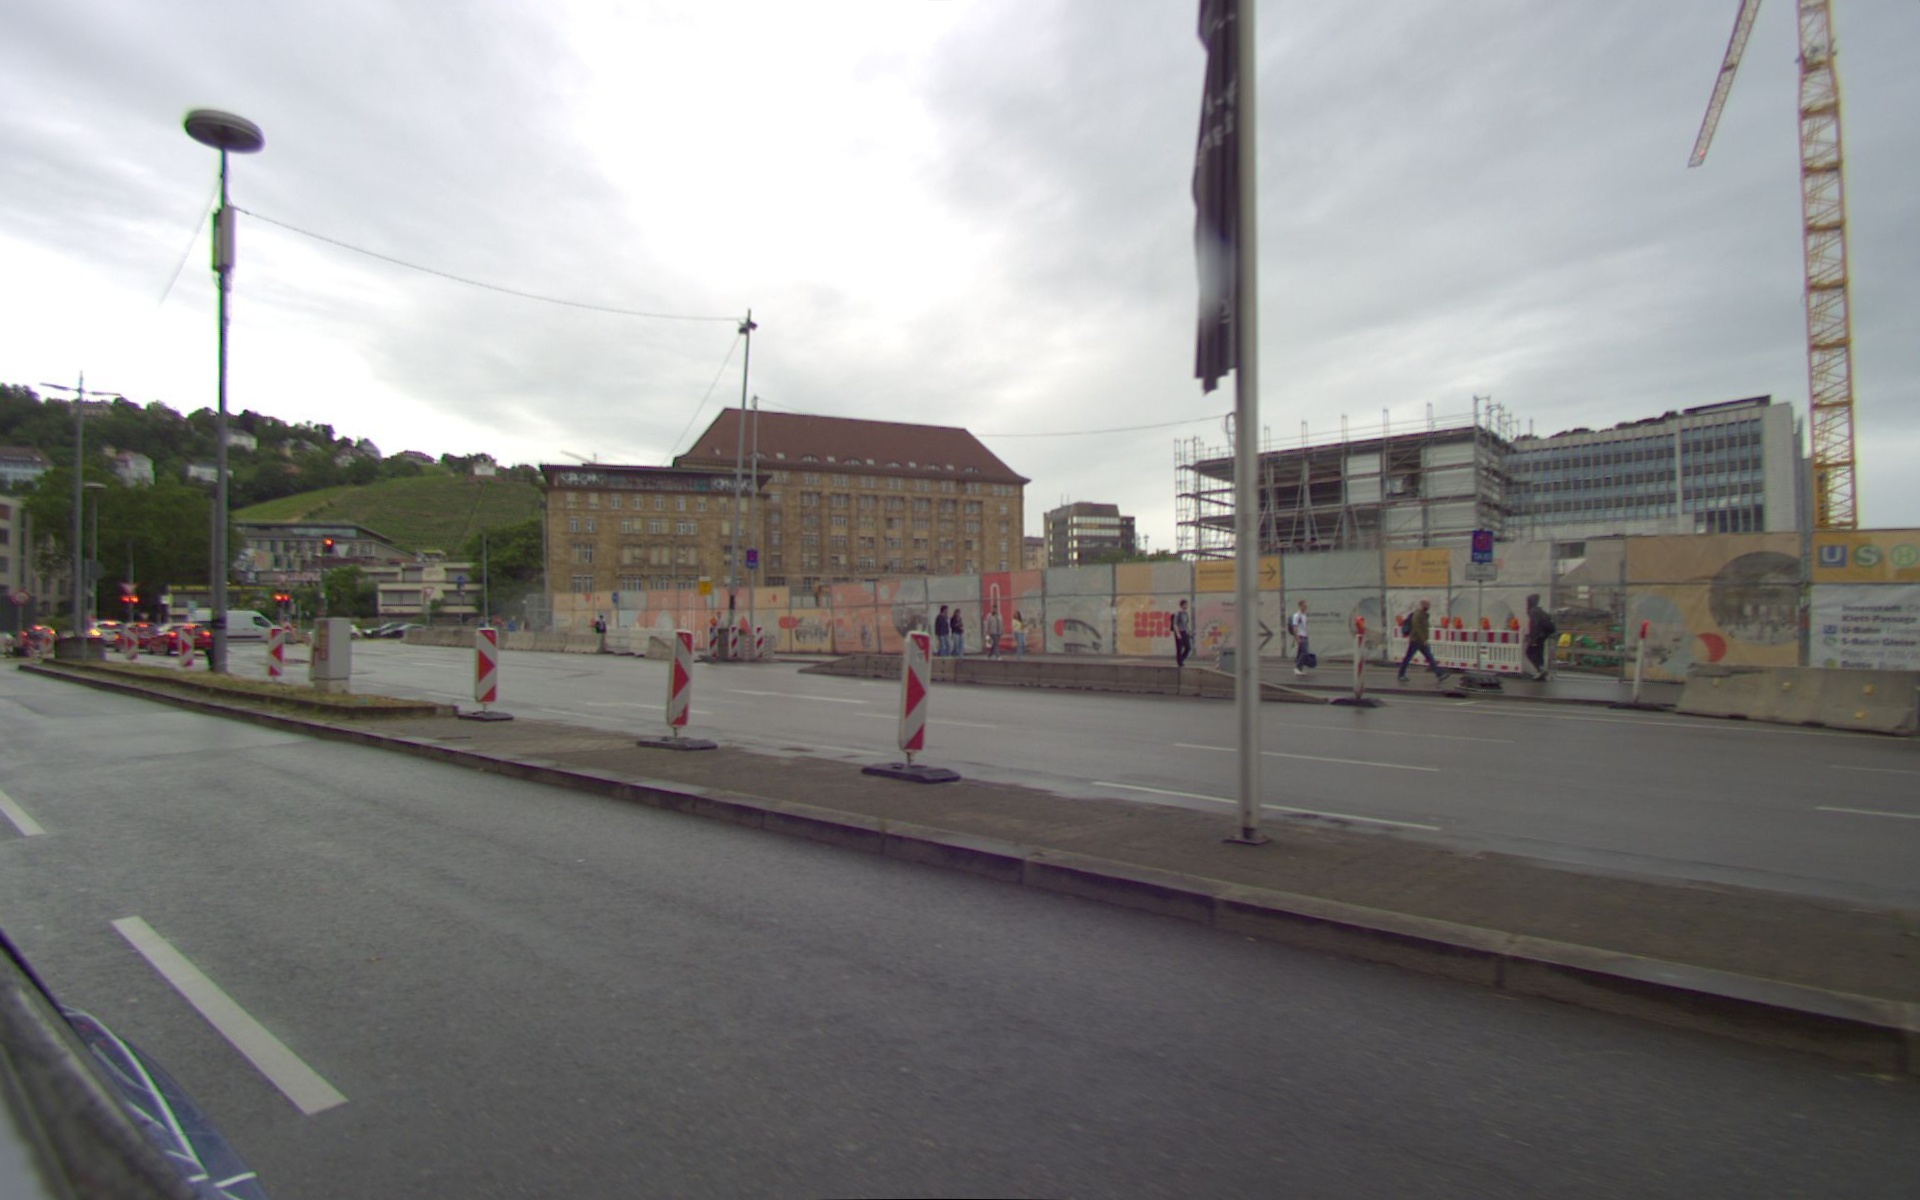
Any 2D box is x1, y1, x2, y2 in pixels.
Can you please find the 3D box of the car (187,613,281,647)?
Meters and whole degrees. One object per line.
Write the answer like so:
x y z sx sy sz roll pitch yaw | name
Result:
-51.530 2.095 71.907 5.171 2.254 2.002 -1 0 -43 | car

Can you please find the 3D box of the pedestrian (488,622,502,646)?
-30.976 2.259 67.438 0.544 1.628 0.706 -1 0 41 | pedestrian

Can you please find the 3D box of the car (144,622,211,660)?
-36.483 1.874 47.160 3.914 1.707 1.762 -1 -2 41 | car

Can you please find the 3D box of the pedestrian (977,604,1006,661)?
0.986 1.010 31.906 0.704 1.757 0.565 -1 0 -28 | pedestrian

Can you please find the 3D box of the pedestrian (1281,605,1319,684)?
8.117 1.042 24.141 0.717 1.850 0.475 -1 0 42 | pedestrian

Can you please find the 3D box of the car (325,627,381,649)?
-56.083 3.507 93.564 4.136 1.871 1.833 -1 0 -43 | car

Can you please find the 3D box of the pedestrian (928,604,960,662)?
-0.496 0.987 31.123 0.704 1.746 0.719 -1 0 -30 | pedestrian

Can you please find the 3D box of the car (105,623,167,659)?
-42.319 2.075 51.962 3.913 1.707 1.763 -1 0 40 | car

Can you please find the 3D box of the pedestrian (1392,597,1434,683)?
9.866 0.859 22.043 0.717 1.850 0.475 -1 0 42 | pedestrian

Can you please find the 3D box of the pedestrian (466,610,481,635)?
-31.703 1.457 66.002 0.544 1.628 0.706 -1 0 41 | pedestrian

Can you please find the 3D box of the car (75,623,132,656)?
-47.416 2.141 56.010 3.913 1.707 1.763 -1 0 40 | car

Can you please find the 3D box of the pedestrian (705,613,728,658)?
-10.338 1.490 42.938 0.720 1.850 0.656 -1 0 42 | pedestrian

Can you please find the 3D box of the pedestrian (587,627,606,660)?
-18.467 2.221 51.391 0.544 1.628 0.706 -1 0 41 | pedestrian

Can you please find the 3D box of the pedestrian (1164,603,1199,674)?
5.923 1.023 27.039 0.717 1.850 0.579 -1 0 42 | pedestrian

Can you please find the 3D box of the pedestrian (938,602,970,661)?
-0.189 0.978 32.071 0.704 1.850 0.719 -1 0 -30 | pedestrian

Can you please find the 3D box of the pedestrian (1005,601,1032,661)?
1.860 0.976 32.066 0.651 1.850 0.557 -1 0 -28 | pedestrian

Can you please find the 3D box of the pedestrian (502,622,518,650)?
-26.743 2.149 60.132 0.544 1.628 0.706 -1 0 41 | pedestrian

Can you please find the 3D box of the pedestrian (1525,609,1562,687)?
12.502 1.015 21.670 0.544 1.628 0.706 -1 0 41 | pedestrian
